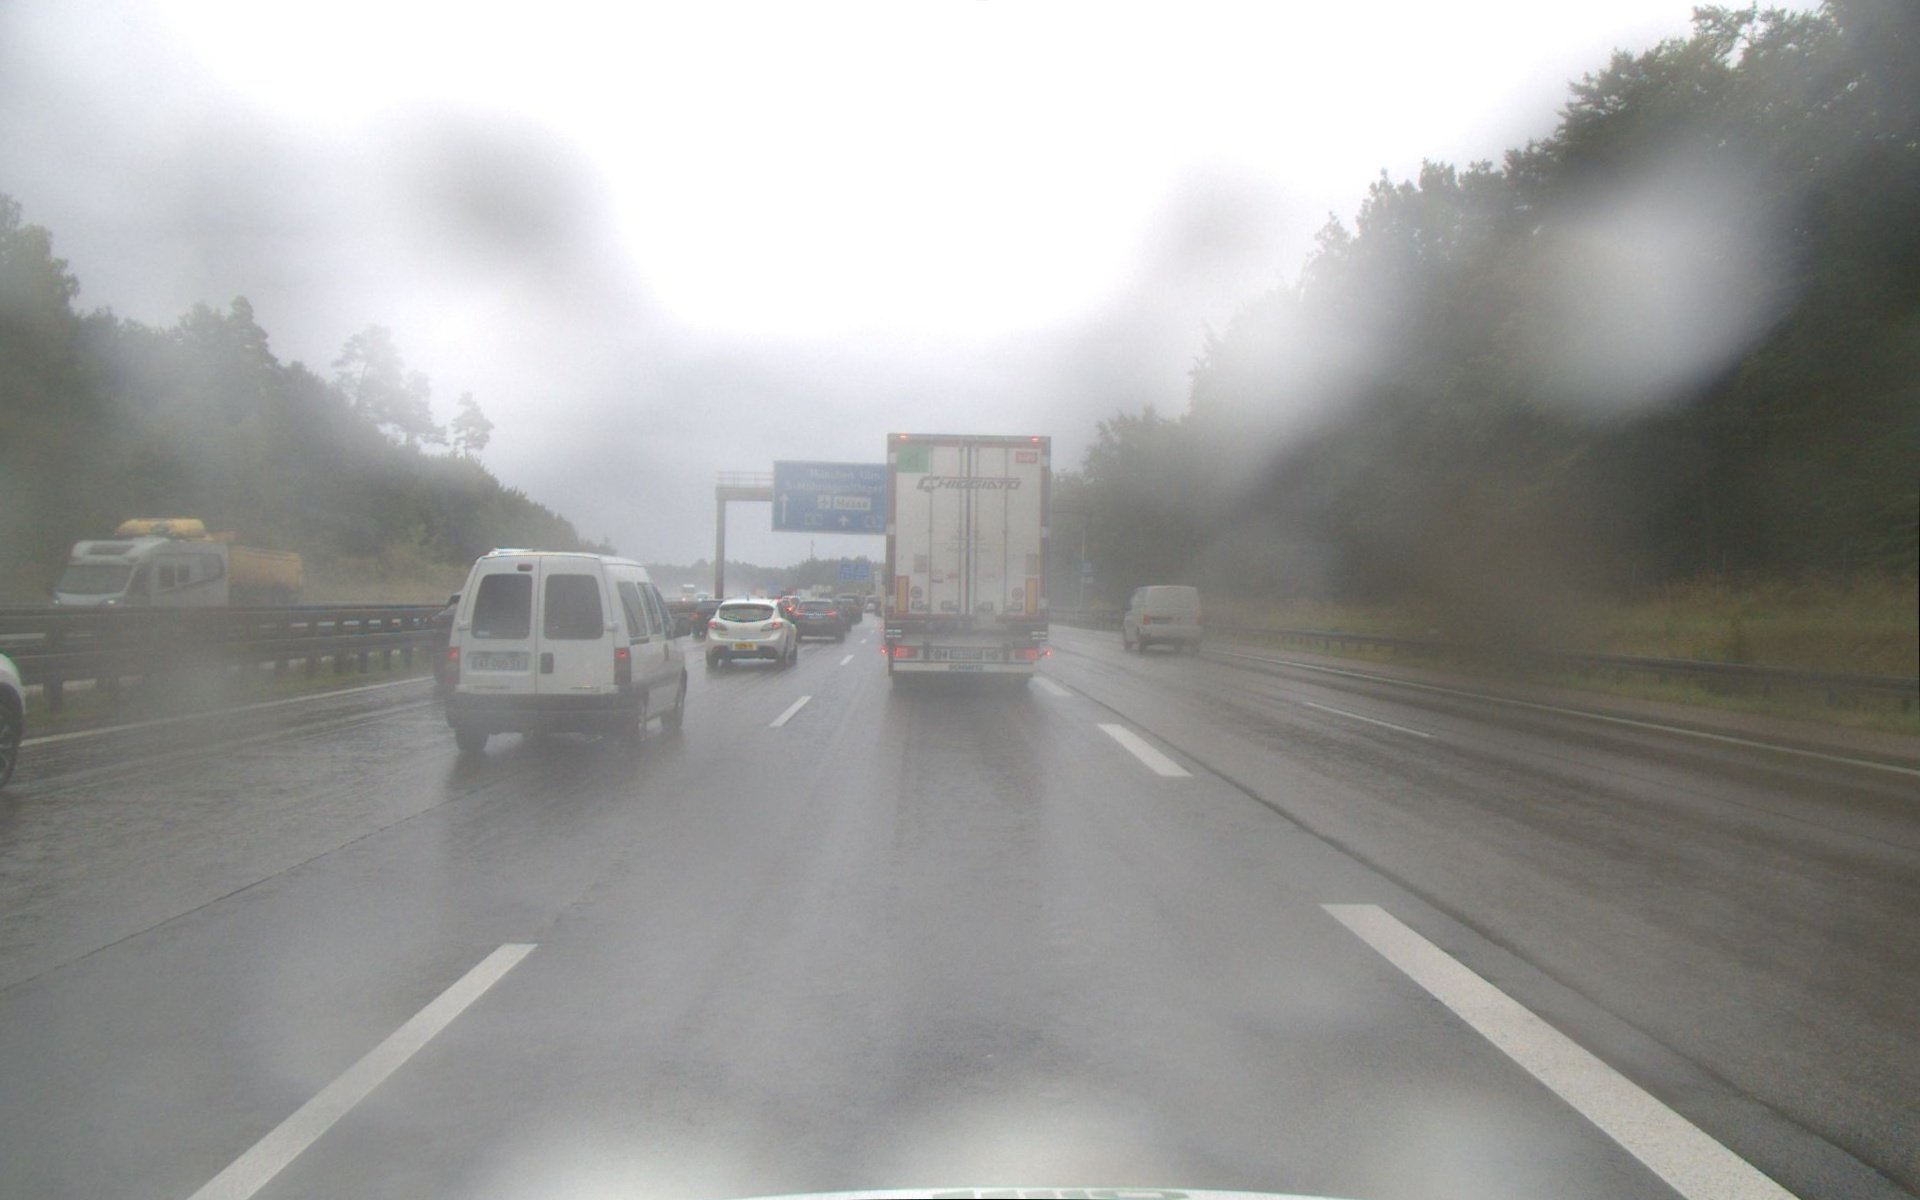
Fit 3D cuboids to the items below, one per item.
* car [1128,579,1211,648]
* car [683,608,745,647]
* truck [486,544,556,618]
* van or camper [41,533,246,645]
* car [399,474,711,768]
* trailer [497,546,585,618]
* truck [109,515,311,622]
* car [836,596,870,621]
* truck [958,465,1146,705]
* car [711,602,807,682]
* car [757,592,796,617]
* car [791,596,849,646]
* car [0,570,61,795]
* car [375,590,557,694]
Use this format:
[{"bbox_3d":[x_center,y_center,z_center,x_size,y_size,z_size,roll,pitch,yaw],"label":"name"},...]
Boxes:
[{"bbox_3d":[6.335,0.370,50.549,1.949,1.954,4.767,1,0,1],"label":"car"},{"bbox_3d":[-9.490,1.038,64.114,1.808,1.354,4.465,1,1,-1],"label":"car"},{"bbox_3d":[-25.150,-1.057,94.916,2.489,4.096,6.321,1,0,-2],"label":"truck"},{"bbox_3d":[-23.236,-0.295,47.585,2.122,2.920,7.999,1,0,-2],"label":"van or camper"},{"bbox_3d":[-4.010,0.169,17.366,2.168,2.618,5.014,1,0,-2],"label":"car"},{"bbox_3d":[-25.520,-1.030,101.398,2.490,4.096,13.842,1,0,-3],"label":"trailer"},{"bbox_3d":[-27.544,-1.076,61.555,2.468,3.544,11.715,1,0,-2],"label":"truck"},{"bbox_3d":[-6.325,0.489,98.137,1.808,1.354,4.465,1,1,-1],"label":"car"},{"bbox_3d":[1.524,-0.214,30.901,2.813,3.624,11.303,1,0,1],"label":"truck"},{"bbox_3d":[-4.443,0.900,37.008,1.809,1.619,4.070,1,0,-3],"label":"car"},{"bbox_3d":[-10.564,0.251,95.474,1.808,1.354,4.465,1,1,-1],"label":"car"},{"bbox_3d":[-4.851,0.697,57.783,1.808,1.619,4.465,1,0,-2],"label":"car"},{"bbox_3d":[-7.793,0.597,10.452,1.808,1.619,4.466,1,0,-1],"label":"car"},{"bbox_3d":[-8.429,0.653,28.638,1.808,1.619,4.466,1,0,0],"label":"car"}]
